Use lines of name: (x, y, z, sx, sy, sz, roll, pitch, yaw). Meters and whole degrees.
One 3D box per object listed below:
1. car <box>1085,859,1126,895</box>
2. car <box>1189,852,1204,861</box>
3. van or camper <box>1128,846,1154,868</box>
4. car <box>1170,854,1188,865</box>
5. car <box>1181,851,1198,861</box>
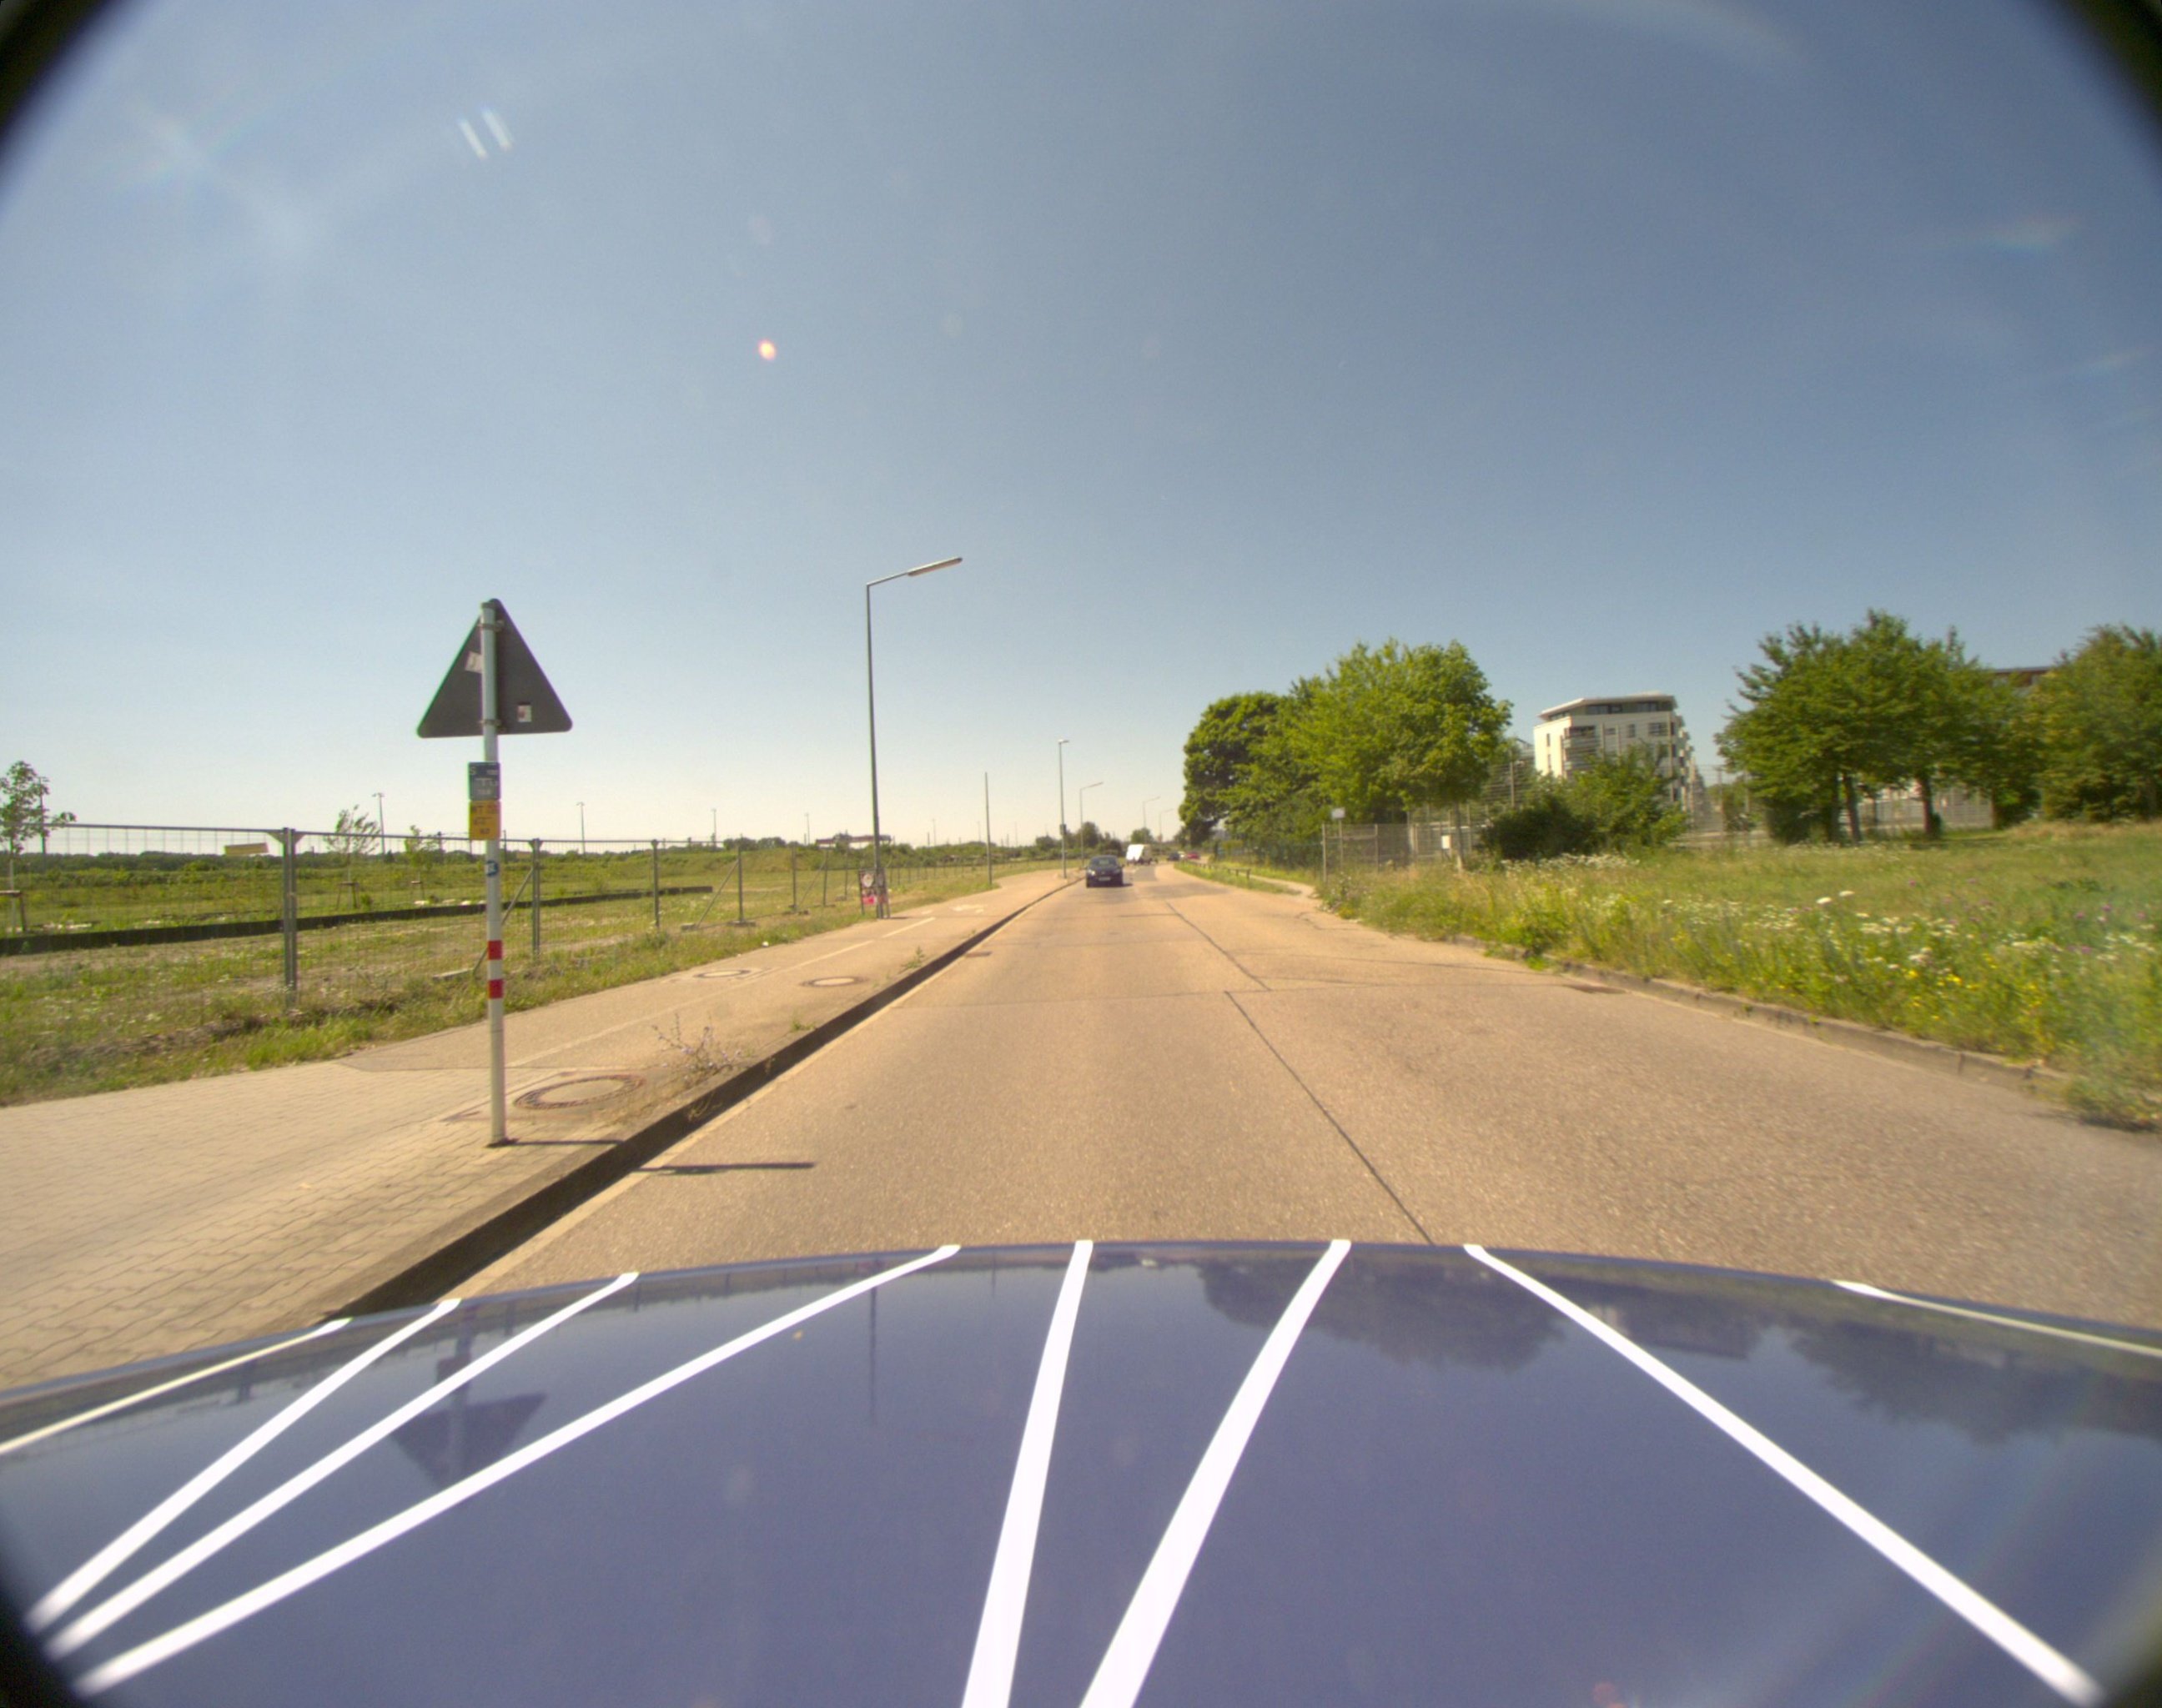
car: (1.182, 1.006, 35.014, 1.653, 1.458, 4.160, -3, 0, 4)
car: (20.390, 0.363, 133.856, 1.651, 1.458, 3.872, -3, 0, 23)
van or camper: (7.586, 0.333, 95.268, 2.139, 2.558, 5.872, -3, 0, 14)
car: (15.134, 0.838, 117.172, 1.651, 1.458, 3.872, -3, 0, 25)
car: (17.497, 0.246, 122.439, 1.651, 1.458, 3.872, -3, 0, 26)
